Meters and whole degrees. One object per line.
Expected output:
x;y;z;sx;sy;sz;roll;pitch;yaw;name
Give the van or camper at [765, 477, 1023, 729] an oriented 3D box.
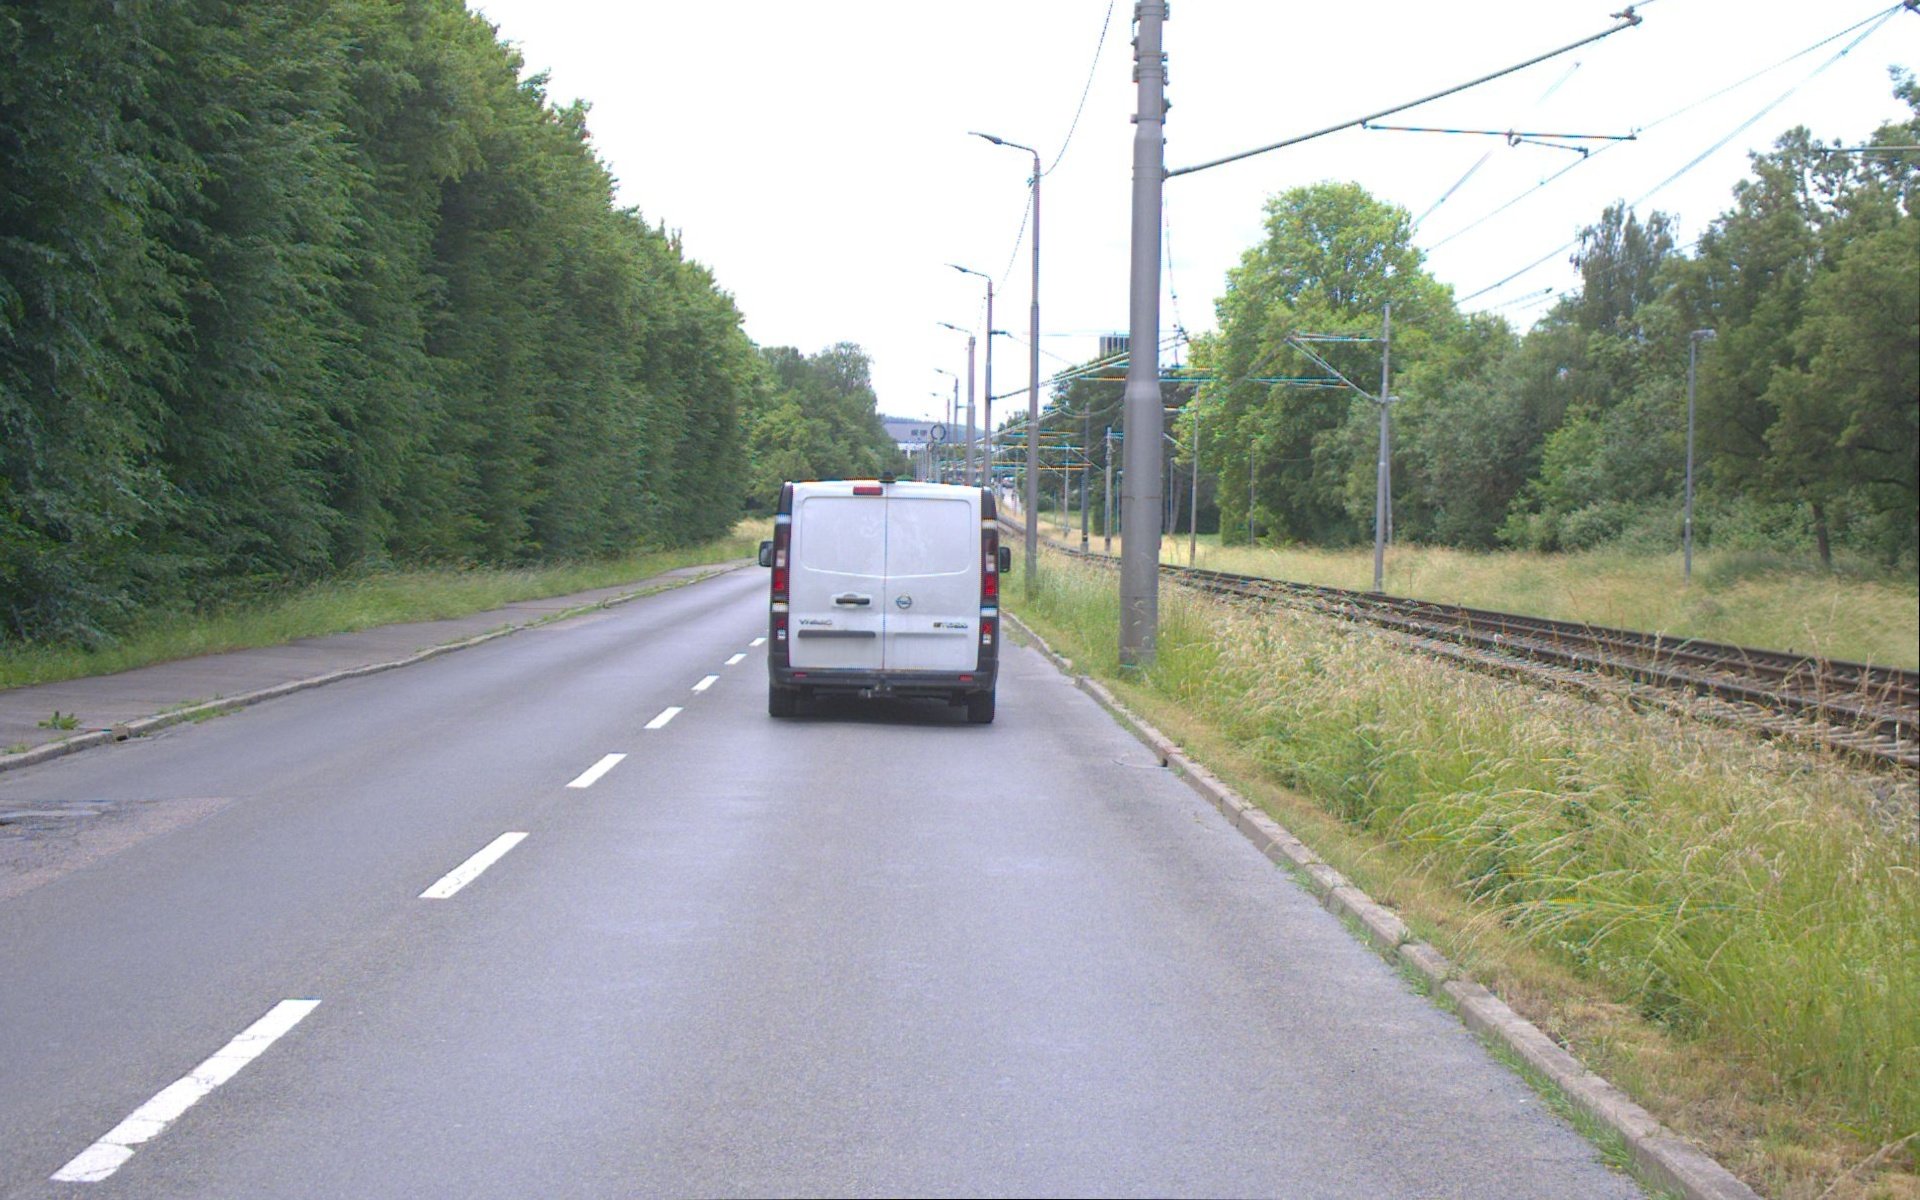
-0.614;-0.016;29.060;1.942;1.890;4.285;2;1;-3;van or camper
